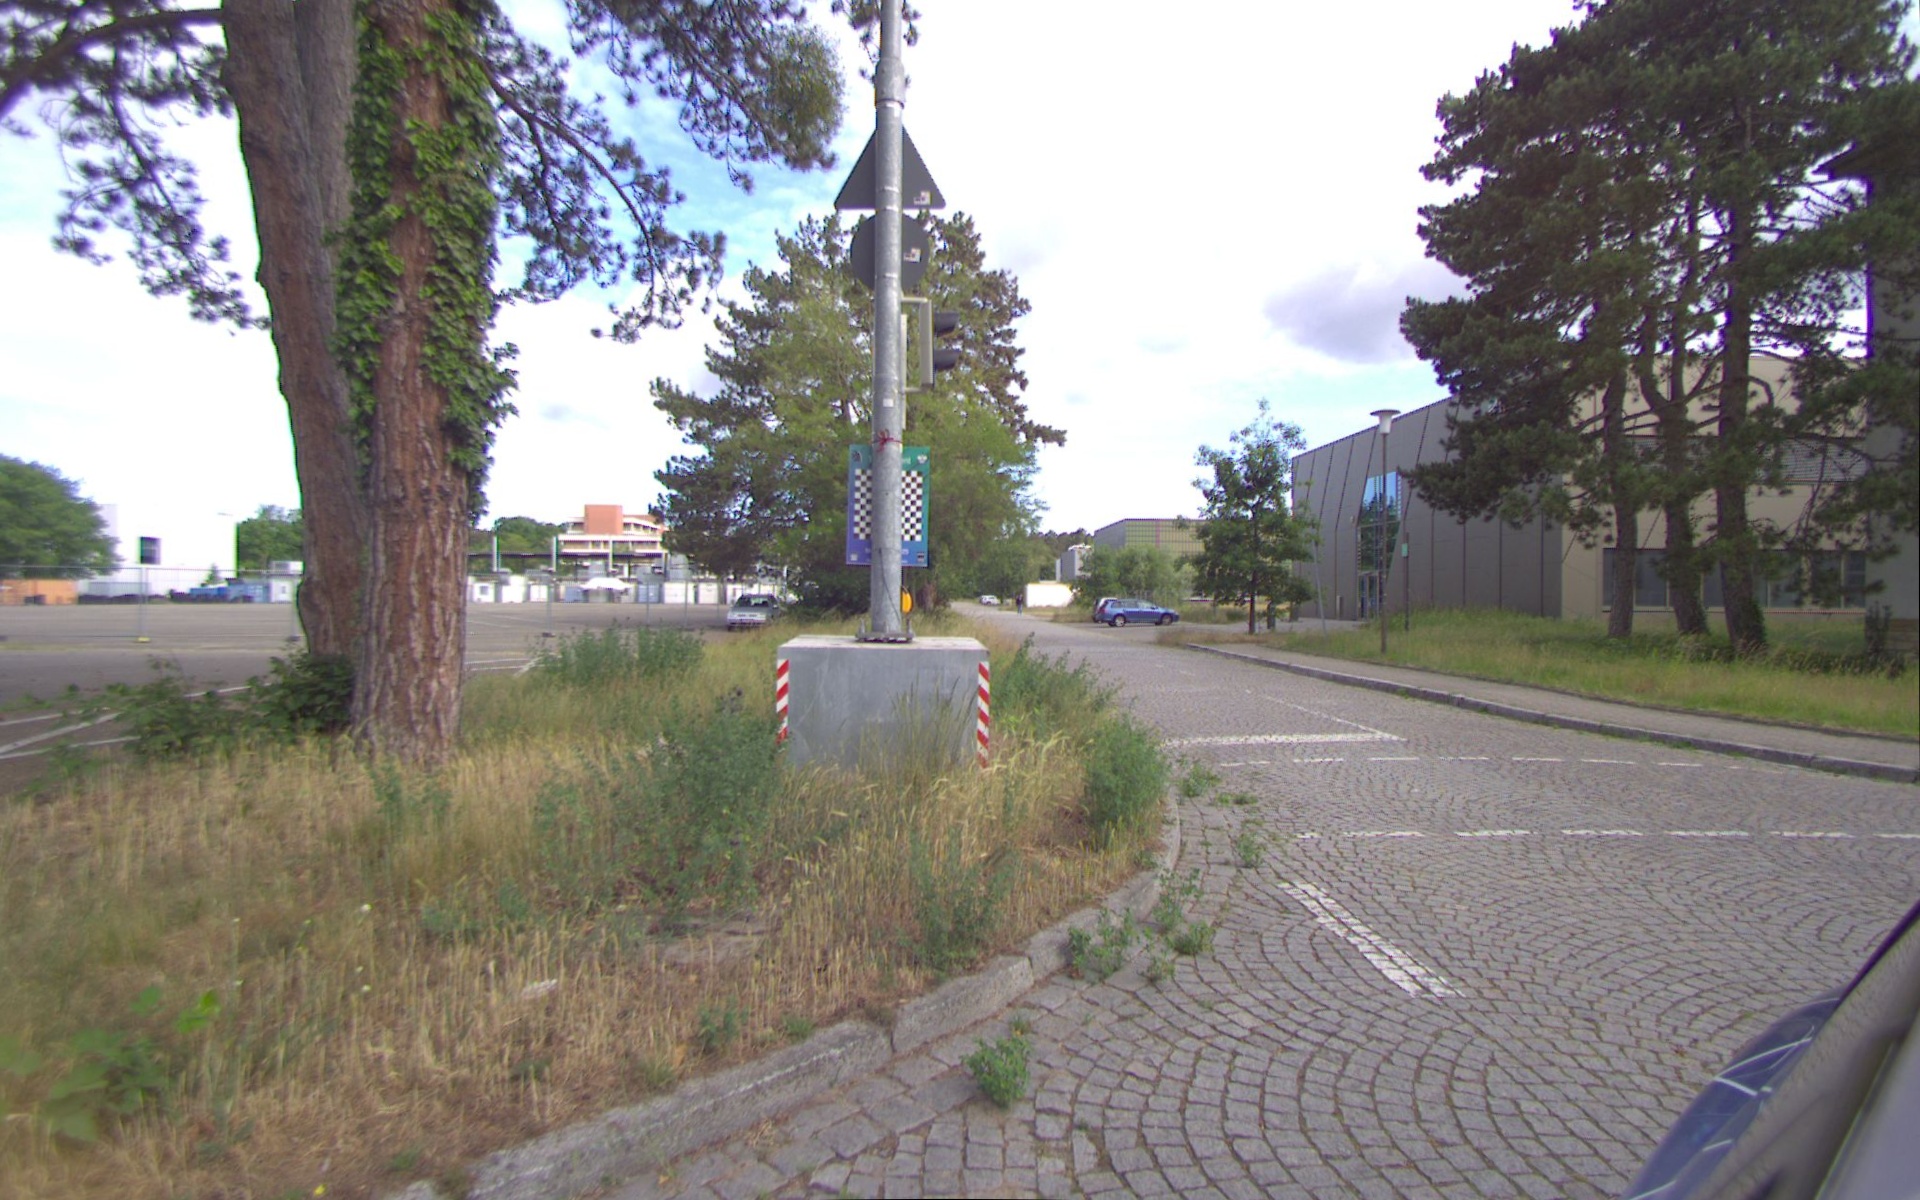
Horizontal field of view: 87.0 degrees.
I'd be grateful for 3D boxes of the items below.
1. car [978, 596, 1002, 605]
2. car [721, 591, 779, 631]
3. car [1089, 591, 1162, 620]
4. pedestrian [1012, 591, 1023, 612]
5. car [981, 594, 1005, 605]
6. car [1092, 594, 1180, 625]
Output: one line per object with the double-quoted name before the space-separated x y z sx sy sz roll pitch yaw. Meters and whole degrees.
"car" 5.158 0.069 171.927 4.005 1.594 1.785 0 0 1
"car" -8.249 0.390 40.089 1.827 1.493 4.156 0 1 -6
"car" 10.189 0.316 62.472 4.113 1.606 1.840 -2 0 -3
"pedestrian" 4.712 0.122 82.759 0.859 1.745 1.007 0 0 1
"car" 5.555 -0.060 169.663 4.006 1.862 1.785 0 0 2
"car" 9.548 0.479 55.026 4.331 1.481 1.840 -2 1 -3
